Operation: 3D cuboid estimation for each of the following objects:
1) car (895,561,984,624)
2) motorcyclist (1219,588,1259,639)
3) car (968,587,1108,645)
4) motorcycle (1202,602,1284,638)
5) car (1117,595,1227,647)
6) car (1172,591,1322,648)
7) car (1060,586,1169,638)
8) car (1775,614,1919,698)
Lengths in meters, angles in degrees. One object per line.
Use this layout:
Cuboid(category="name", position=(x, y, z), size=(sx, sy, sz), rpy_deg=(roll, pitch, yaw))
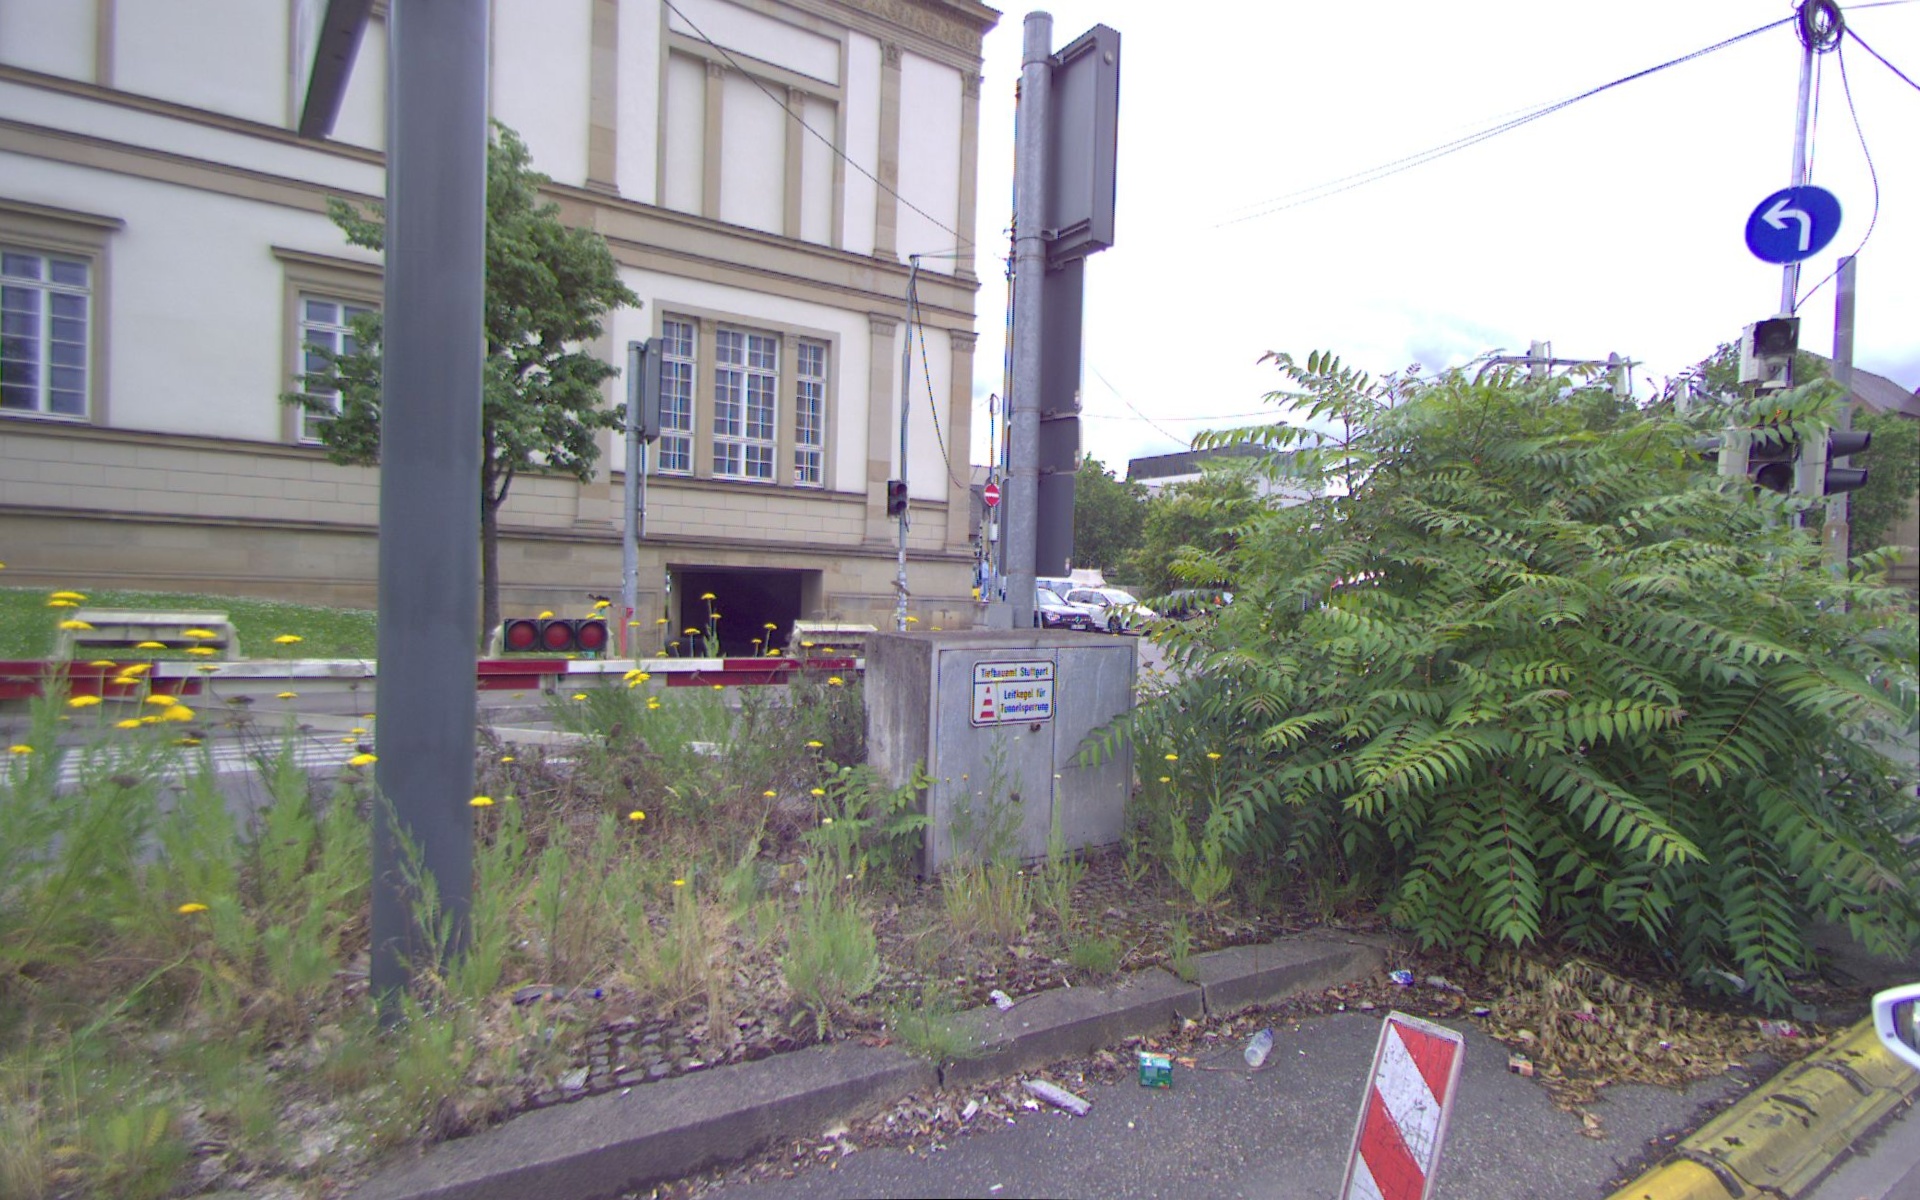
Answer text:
Cuboid(category="car", position=(-0.941, -0.316, 43.669), size=(1.978, 2.585, 4.083), rpy_deg=(2, 0, -32))
Cuboid(category="motorcyclist", position=(7.837, 0.372, 28.224), size=(0.690, 1.398, 0.784), rpy_deg=(2, 0, -33))
Cuboid(category="car", position=(2.321, 0.470, 30.997), size=(1.870, 1.647, 4.322), rpy_deg=(2, 0, -38))
Cuboid(category="motorcycle", position=(7.890, 0.544, 28.131), size=(0.690, 0.953, 2.335), rpy_deg=(2, 0, -32))
Cuboid(category="car", position=(8.044, 0.759, 38.439), size=(1.889, 1.763, 3.964), rpy_deg=(2, 1, -32))
Cuboid(category="car", position=(8.615, 0.556, 30.458), size=(1.978, 1.568, 4.084), rpy_deg=(2, 0, -32))
Cuboid(category="car", position=(5.831, 0.418, 38.349), size=(1.889, 1.763, 4.051), rpy_deg=(2, 1, -32))
Cuboid(category="car", position=(18.330, 1.070, 18.733), size=(1.977, 1.485, 4.467), rpy_deg=(2, 0, -31))
